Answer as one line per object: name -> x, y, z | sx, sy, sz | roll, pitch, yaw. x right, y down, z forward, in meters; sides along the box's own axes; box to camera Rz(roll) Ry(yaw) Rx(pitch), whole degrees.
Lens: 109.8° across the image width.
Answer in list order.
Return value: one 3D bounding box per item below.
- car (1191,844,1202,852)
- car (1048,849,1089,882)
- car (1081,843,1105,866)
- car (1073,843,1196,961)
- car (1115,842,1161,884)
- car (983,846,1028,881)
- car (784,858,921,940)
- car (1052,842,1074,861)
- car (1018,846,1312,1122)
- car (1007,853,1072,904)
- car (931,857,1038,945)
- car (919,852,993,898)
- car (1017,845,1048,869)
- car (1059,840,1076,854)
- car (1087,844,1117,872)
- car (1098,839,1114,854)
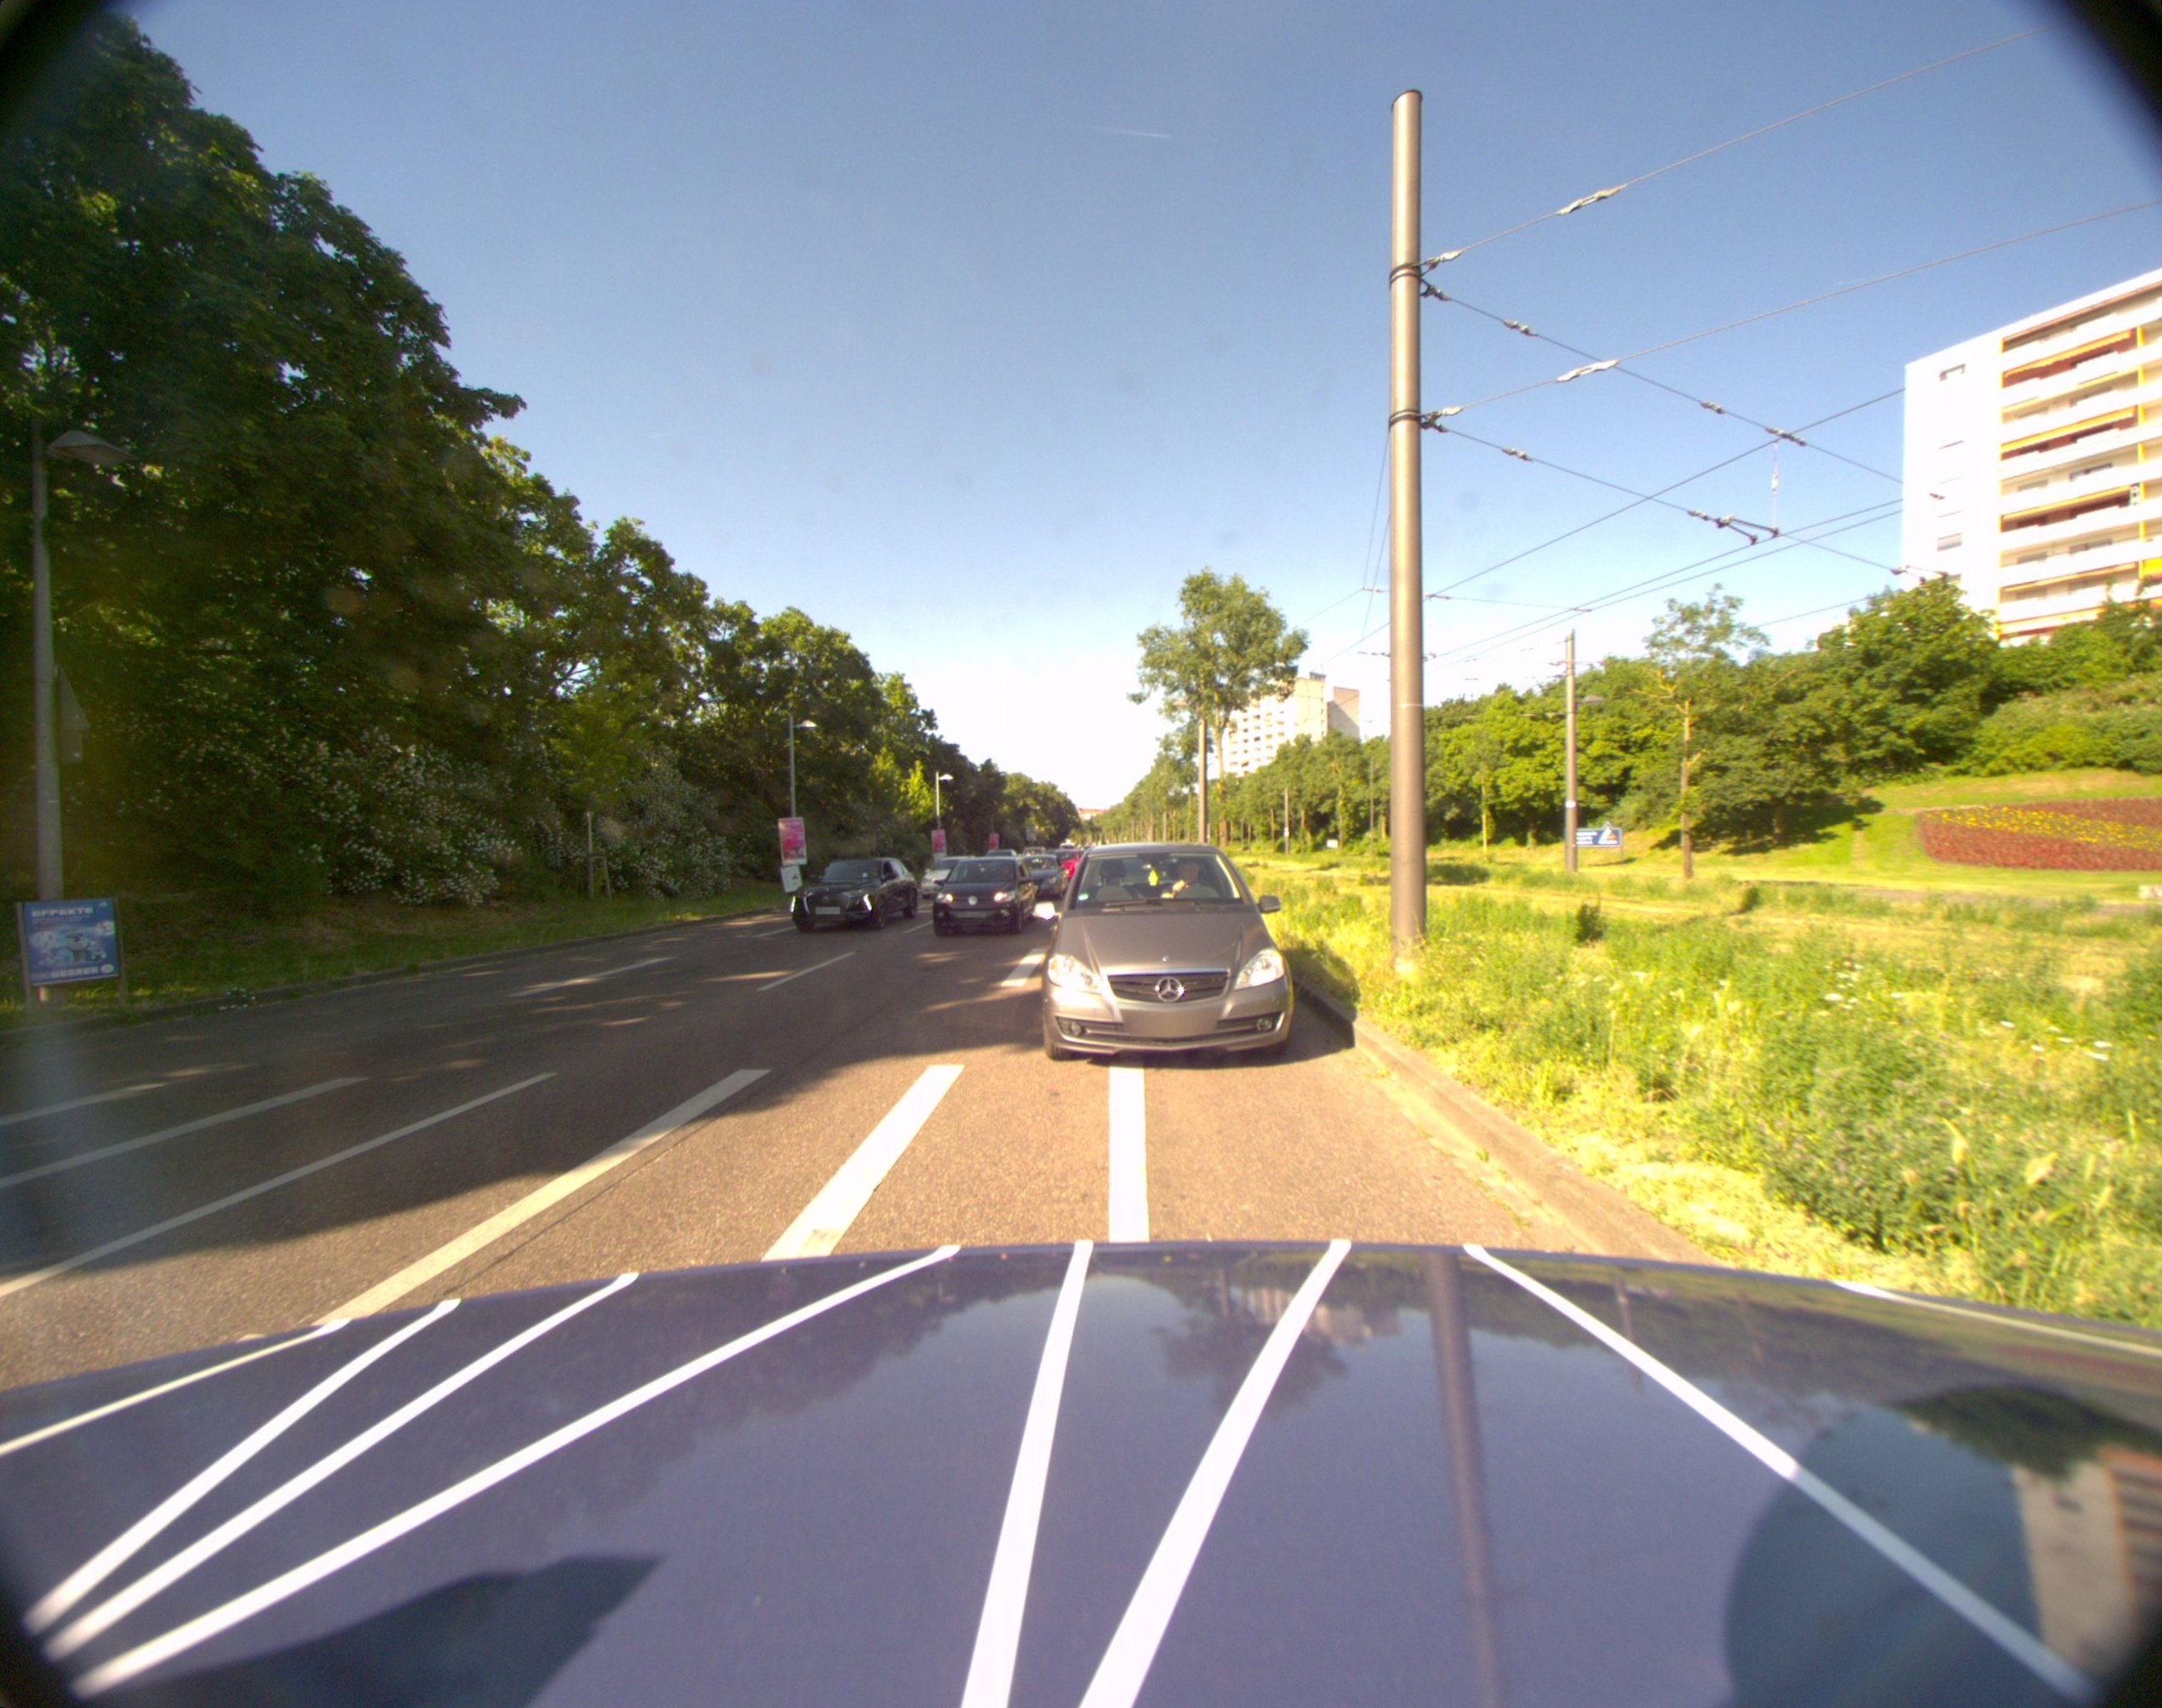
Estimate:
car -> 22.045, -1.122, 144.873 | 1.577, 1.412, 3.909 | -2, 0, 2
car -> -0.557, 0.527, 37.012 | 1.685, 1.437, 3.727 | -2, 1, 3
car -> 0.974, 0.011, 60.208 | 1.749, 1.652, 3.999 | -2, 1, 1
car -> 0.832, 0.673, 13.110 | 1.749, 1.652, 3.999 | -2, 1, 1
car -> 2.361, 0.339, 32.549 | 1.749, 1.652, 4.000 | -1, 1, 1
car -> -3.789, 0.428, 38.504 | 1.749, 1.652, 4.000 | -1, 1, 1
car -> -4.919, 0.898, 16.972 | 1.713, 1.485, 3.963 | -2, 1, 2
car -> -1.559, -0.261, 66.122 | 1.652, 1.521, 3.895 | -2, 1, 1
car -> 0.568, 0.785, 6.666 | 1.749, 1.631, 4.000 | -2, 1, 1
car -> -1.250, 0.721, 24.532 | 1.713, 1.430, 4.171 | -2, 1, 2
car -> -1.825, 0.844, 15.318 | 1.621, 1.485, 3.452 | -2, 1, 1
car -> -4.481, 0.716, 27.885 | 1.748, 1.428, 4.386 | -2, 1, 2
car -> -3.212, 0.185, 50.982 | 1.713, 1.485, 3.963 | -2, 1, 2
car -> -1.463, -0.769, 85.729 | 1.713, 1.485, 3.963 | -2, 1, 2
car -> 1.315, 0.209, 48.417 | 1.749, 1.652, 3.999 | -2, 1, 1
car -> 2.771, -0.867, 85.059 | 1.630, 1.556, 3.812 | -2, 1, 1
